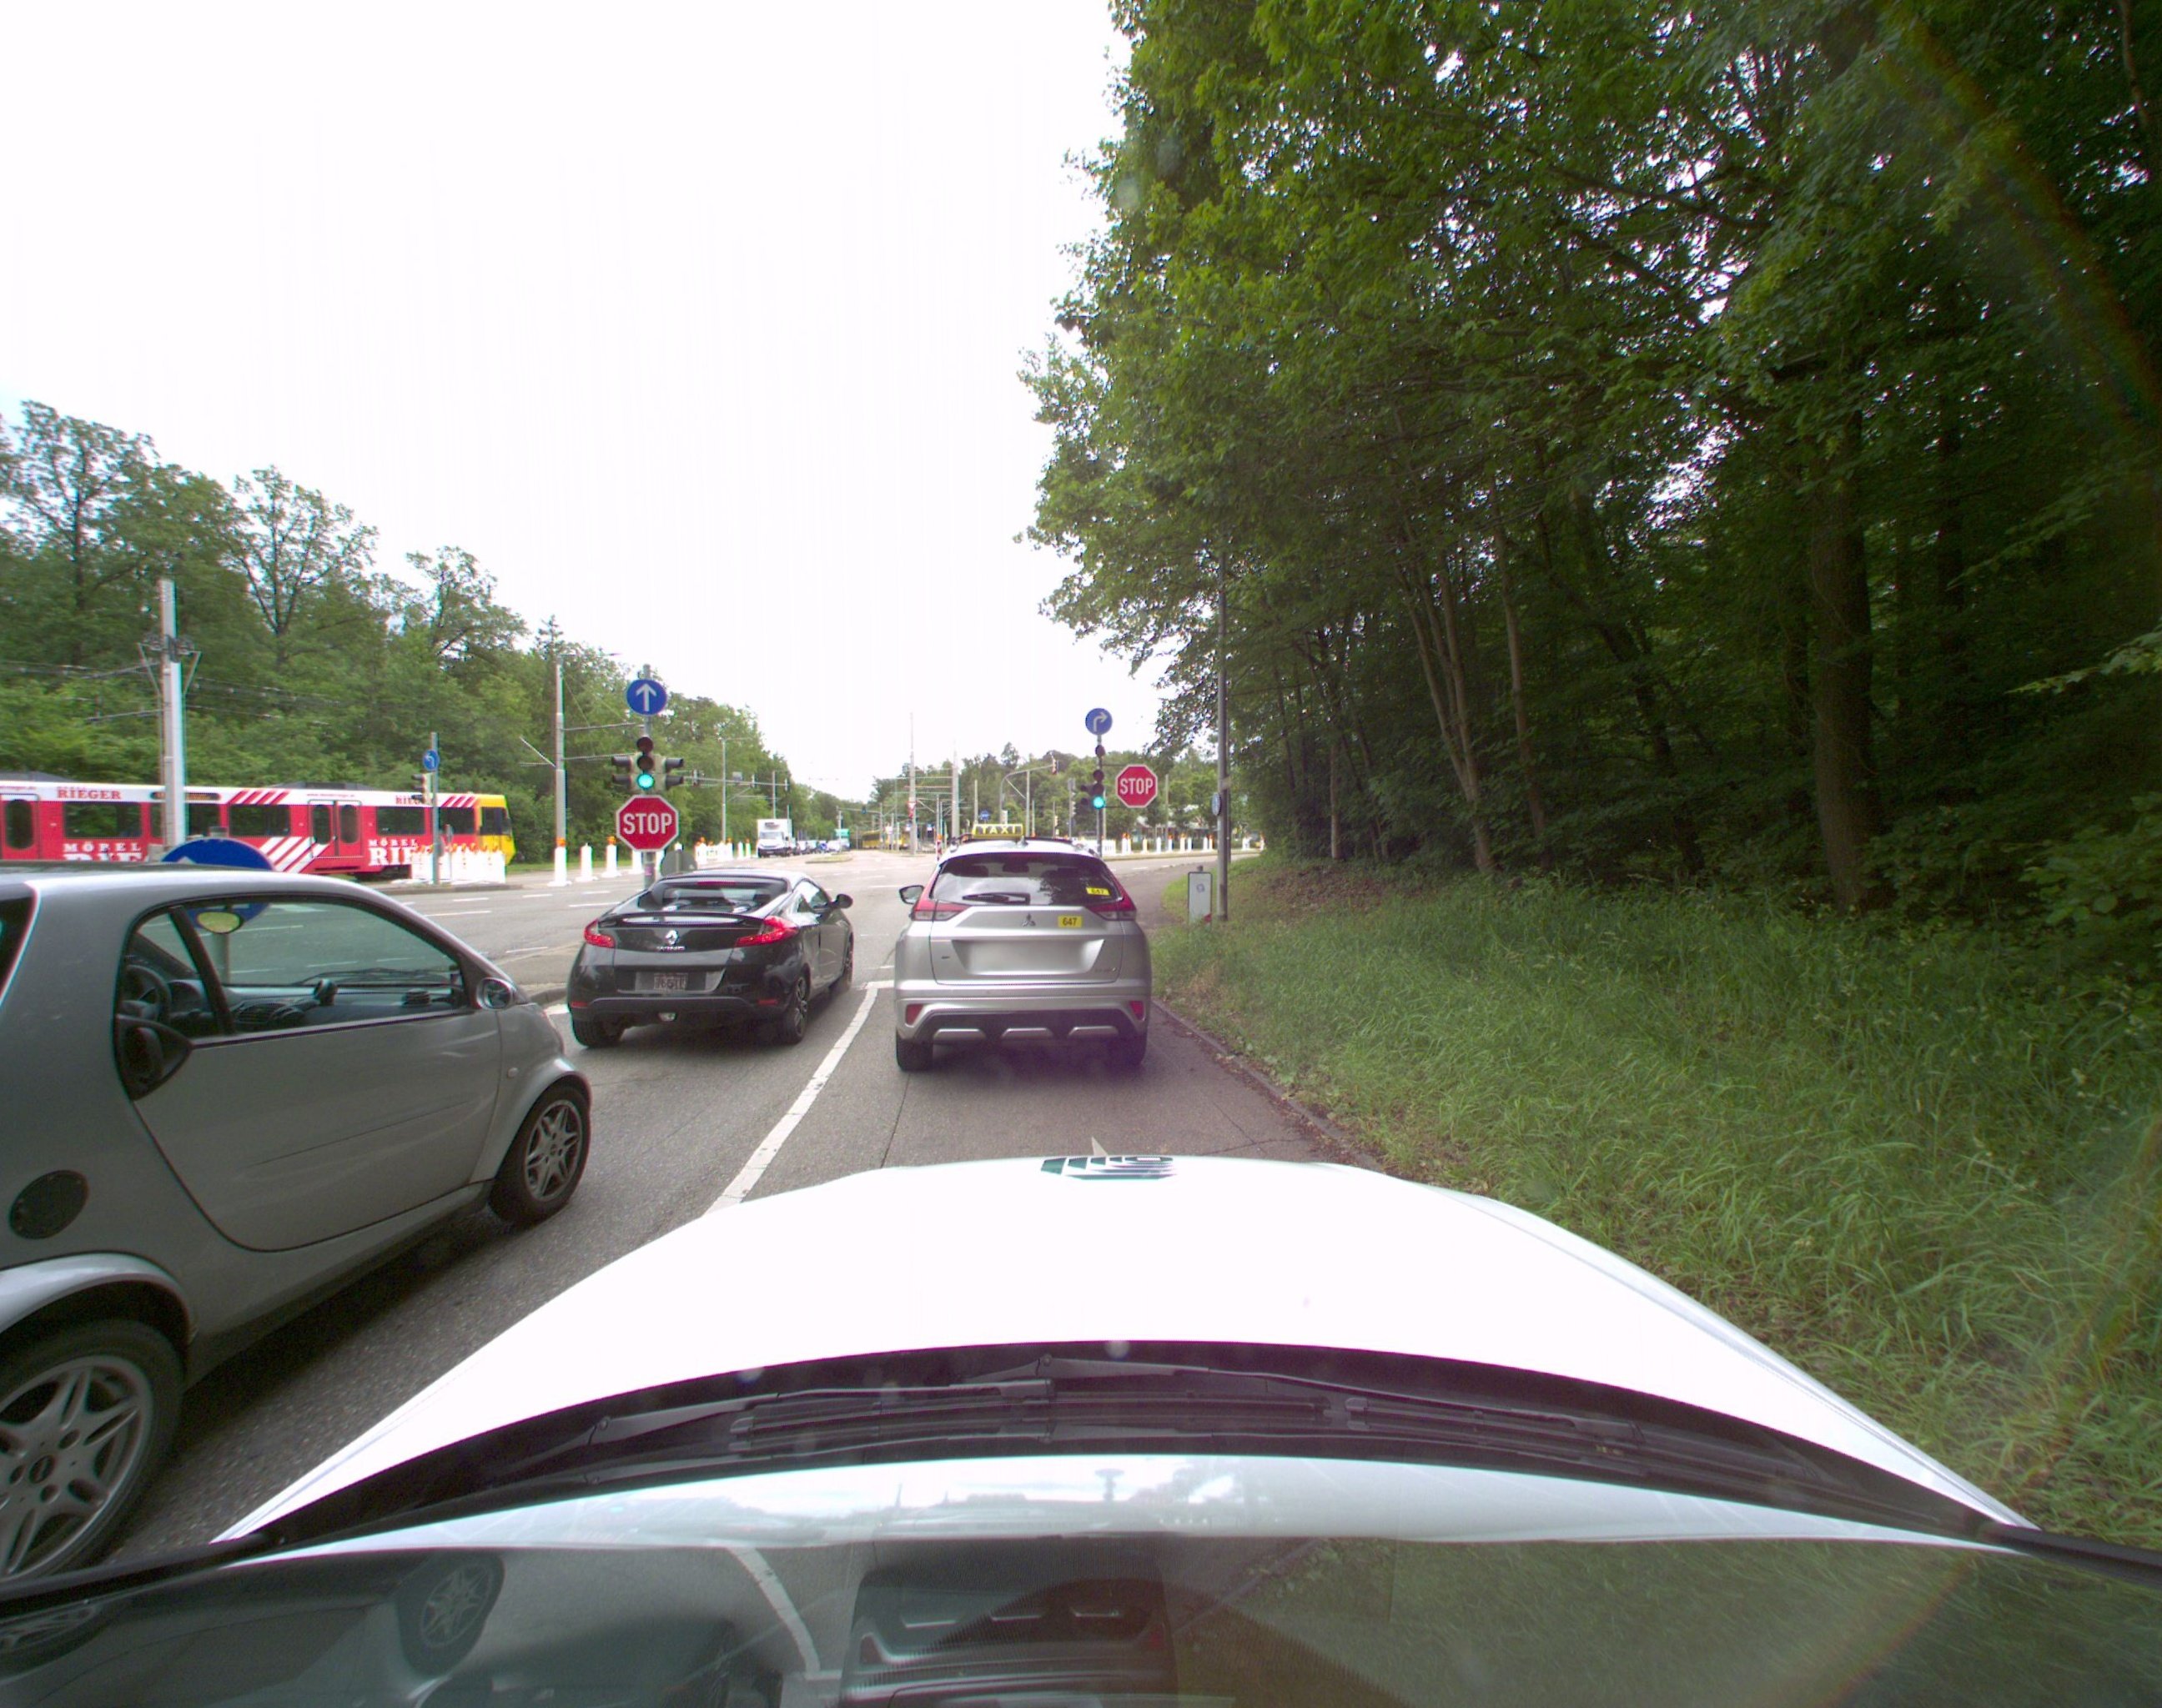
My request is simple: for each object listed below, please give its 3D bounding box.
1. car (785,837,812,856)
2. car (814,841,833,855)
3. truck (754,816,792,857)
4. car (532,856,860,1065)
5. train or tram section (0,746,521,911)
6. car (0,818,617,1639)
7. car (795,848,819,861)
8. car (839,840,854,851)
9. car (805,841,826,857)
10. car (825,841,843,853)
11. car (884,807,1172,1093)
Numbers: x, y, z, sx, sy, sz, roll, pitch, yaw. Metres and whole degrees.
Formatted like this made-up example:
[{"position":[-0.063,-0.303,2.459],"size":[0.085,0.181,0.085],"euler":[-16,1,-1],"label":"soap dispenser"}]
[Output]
[{"position":[-27.646,-0.751,79.876],"size":[1.964,1.749,4.824],"euler":[-1,1,-13],"label":"car"},{"position":[-32.216,-0.773,101.985],"size":[1.964,1.607,4.291],"euler":[-1,1,-13],"label":"car"},{"position":[-25.592,-1.410,67.862],"size":[2.455,3.224,7.114],"euler":[-2,1,-17],"label":"truck"},{"position":[-3.202,0.753,7.566],"size":[1.773,1.361,3.466],"euler":[-1,1,-9],"label":"car"},{"position":[-29.660,-0.681,27.163],"size":[2.919,4.650,18.659],"euler":[-1,-1,29],"label":"train or tram section"},{"position":[-2.905,0.725,2.532],"size":[1.455,1.586,2.724],"euler":[-1,1,-4],"label":"car"},{"position":[-29.475,0.018,87.752],"size":[1.964,1.361,4.669],"euler":[-1,1,-13],"label":"car"},{"position":[-34.838,-1.240,121.208],"size":[1.964,1.540,4.291],"euler":[-1,1,-13],"label":"car"},{"position":[-31.248,-0.630,95.948],"size":[1.964,1.844,4.669],"euler":[-1,1,-13],"label":"car"},{"position":[-32.749,-0.974,107.913],"size":[1.964,1.541,4.376],"euler":[-1,1,-13],"label":"car"},{"position":[-0.523,0.577,6.973],"size":[1.772,1.748,3.772],"euler":[1,1,-7],"label":"car"}]
